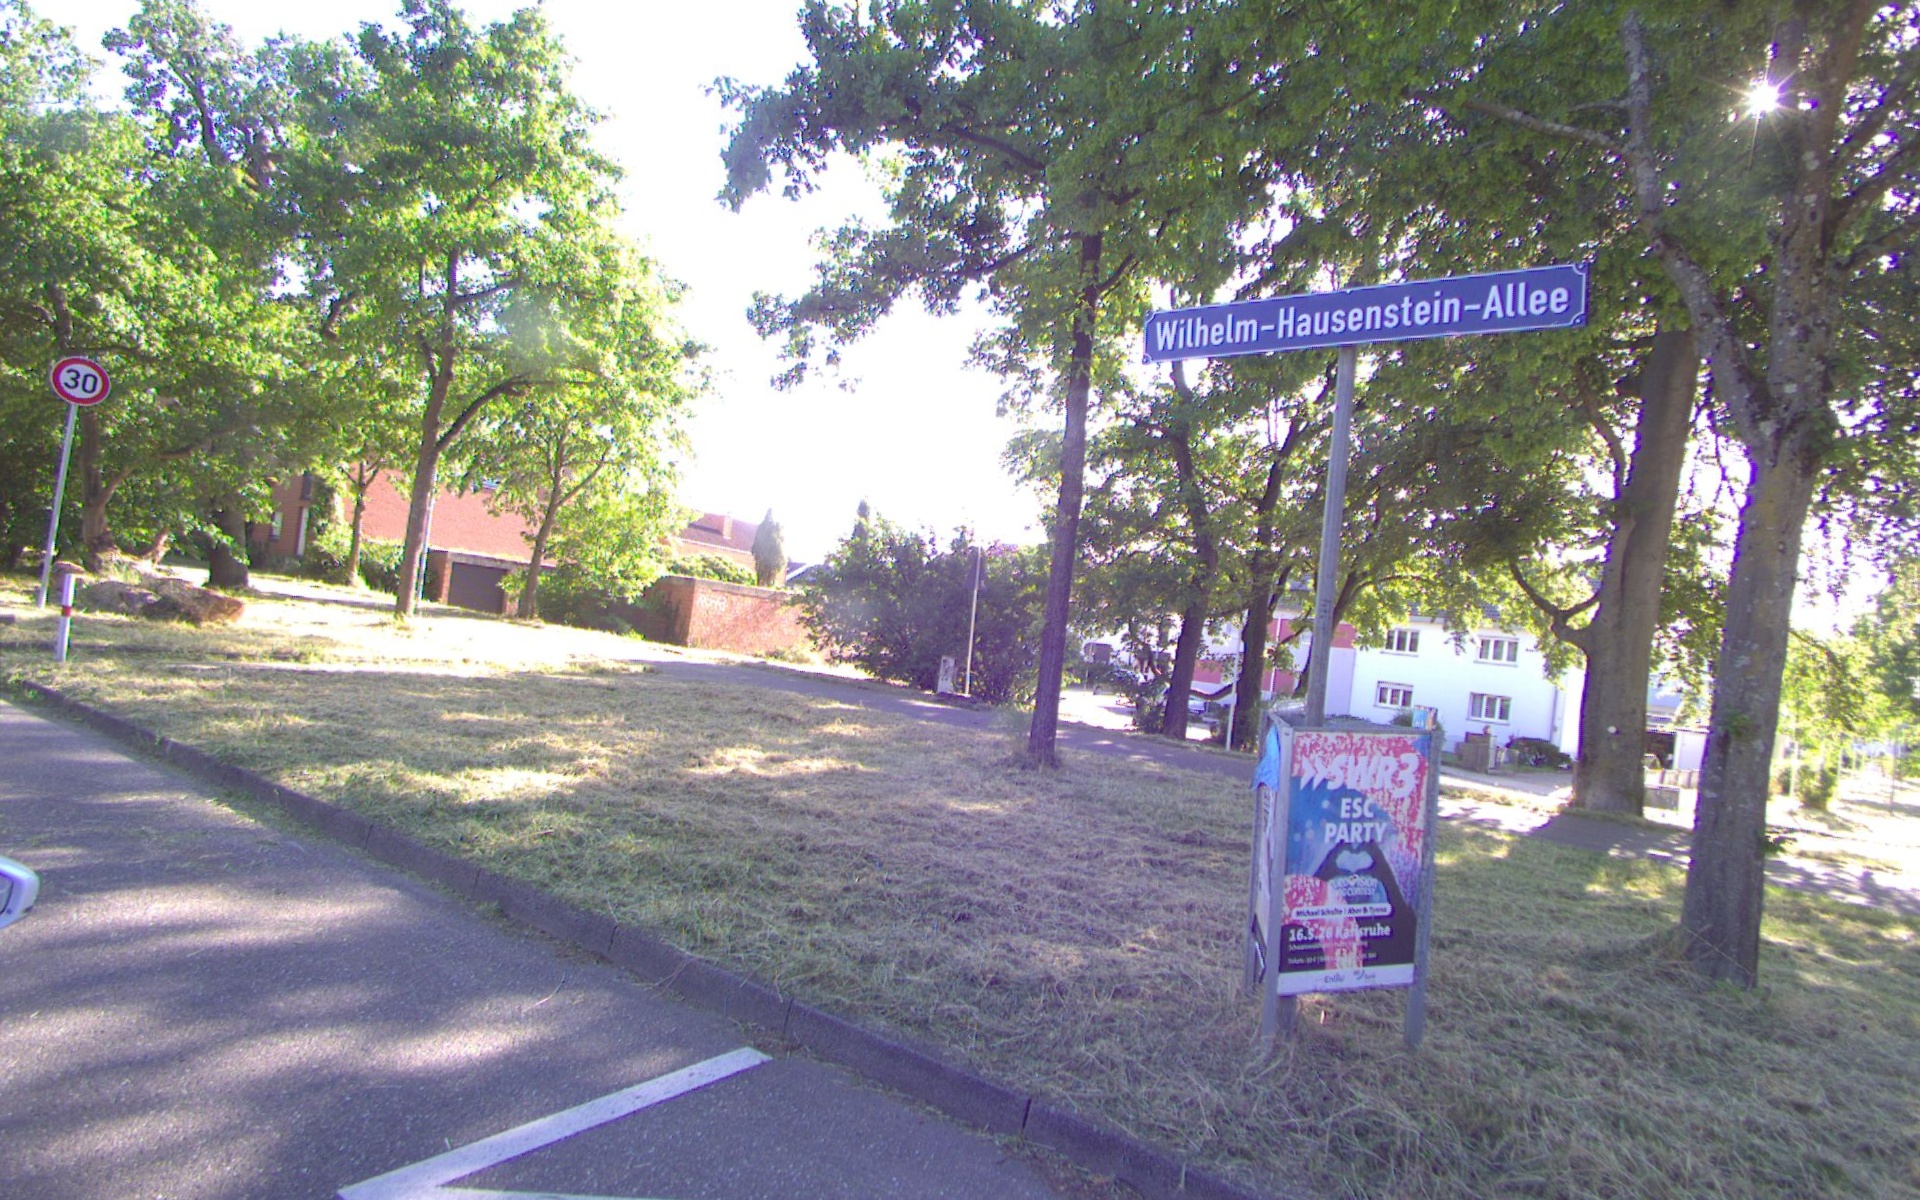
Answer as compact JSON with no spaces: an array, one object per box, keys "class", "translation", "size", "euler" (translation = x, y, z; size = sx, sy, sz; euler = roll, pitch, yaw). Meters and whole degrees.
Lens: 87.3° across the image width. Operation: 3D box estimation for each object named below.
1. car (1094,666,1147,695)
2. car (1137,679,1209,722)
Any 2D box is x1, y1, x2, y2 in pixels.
[{"class":"car","translation":[10.954,5.487,68.455],"size":[3.617,1.515,1.434],"euler":[10,-3,-41]},{"class":"car","translation":[10.112,4.755,47.949],"size":[1.514,1.569,3.160],"euler":[9,-2,-30]}]
